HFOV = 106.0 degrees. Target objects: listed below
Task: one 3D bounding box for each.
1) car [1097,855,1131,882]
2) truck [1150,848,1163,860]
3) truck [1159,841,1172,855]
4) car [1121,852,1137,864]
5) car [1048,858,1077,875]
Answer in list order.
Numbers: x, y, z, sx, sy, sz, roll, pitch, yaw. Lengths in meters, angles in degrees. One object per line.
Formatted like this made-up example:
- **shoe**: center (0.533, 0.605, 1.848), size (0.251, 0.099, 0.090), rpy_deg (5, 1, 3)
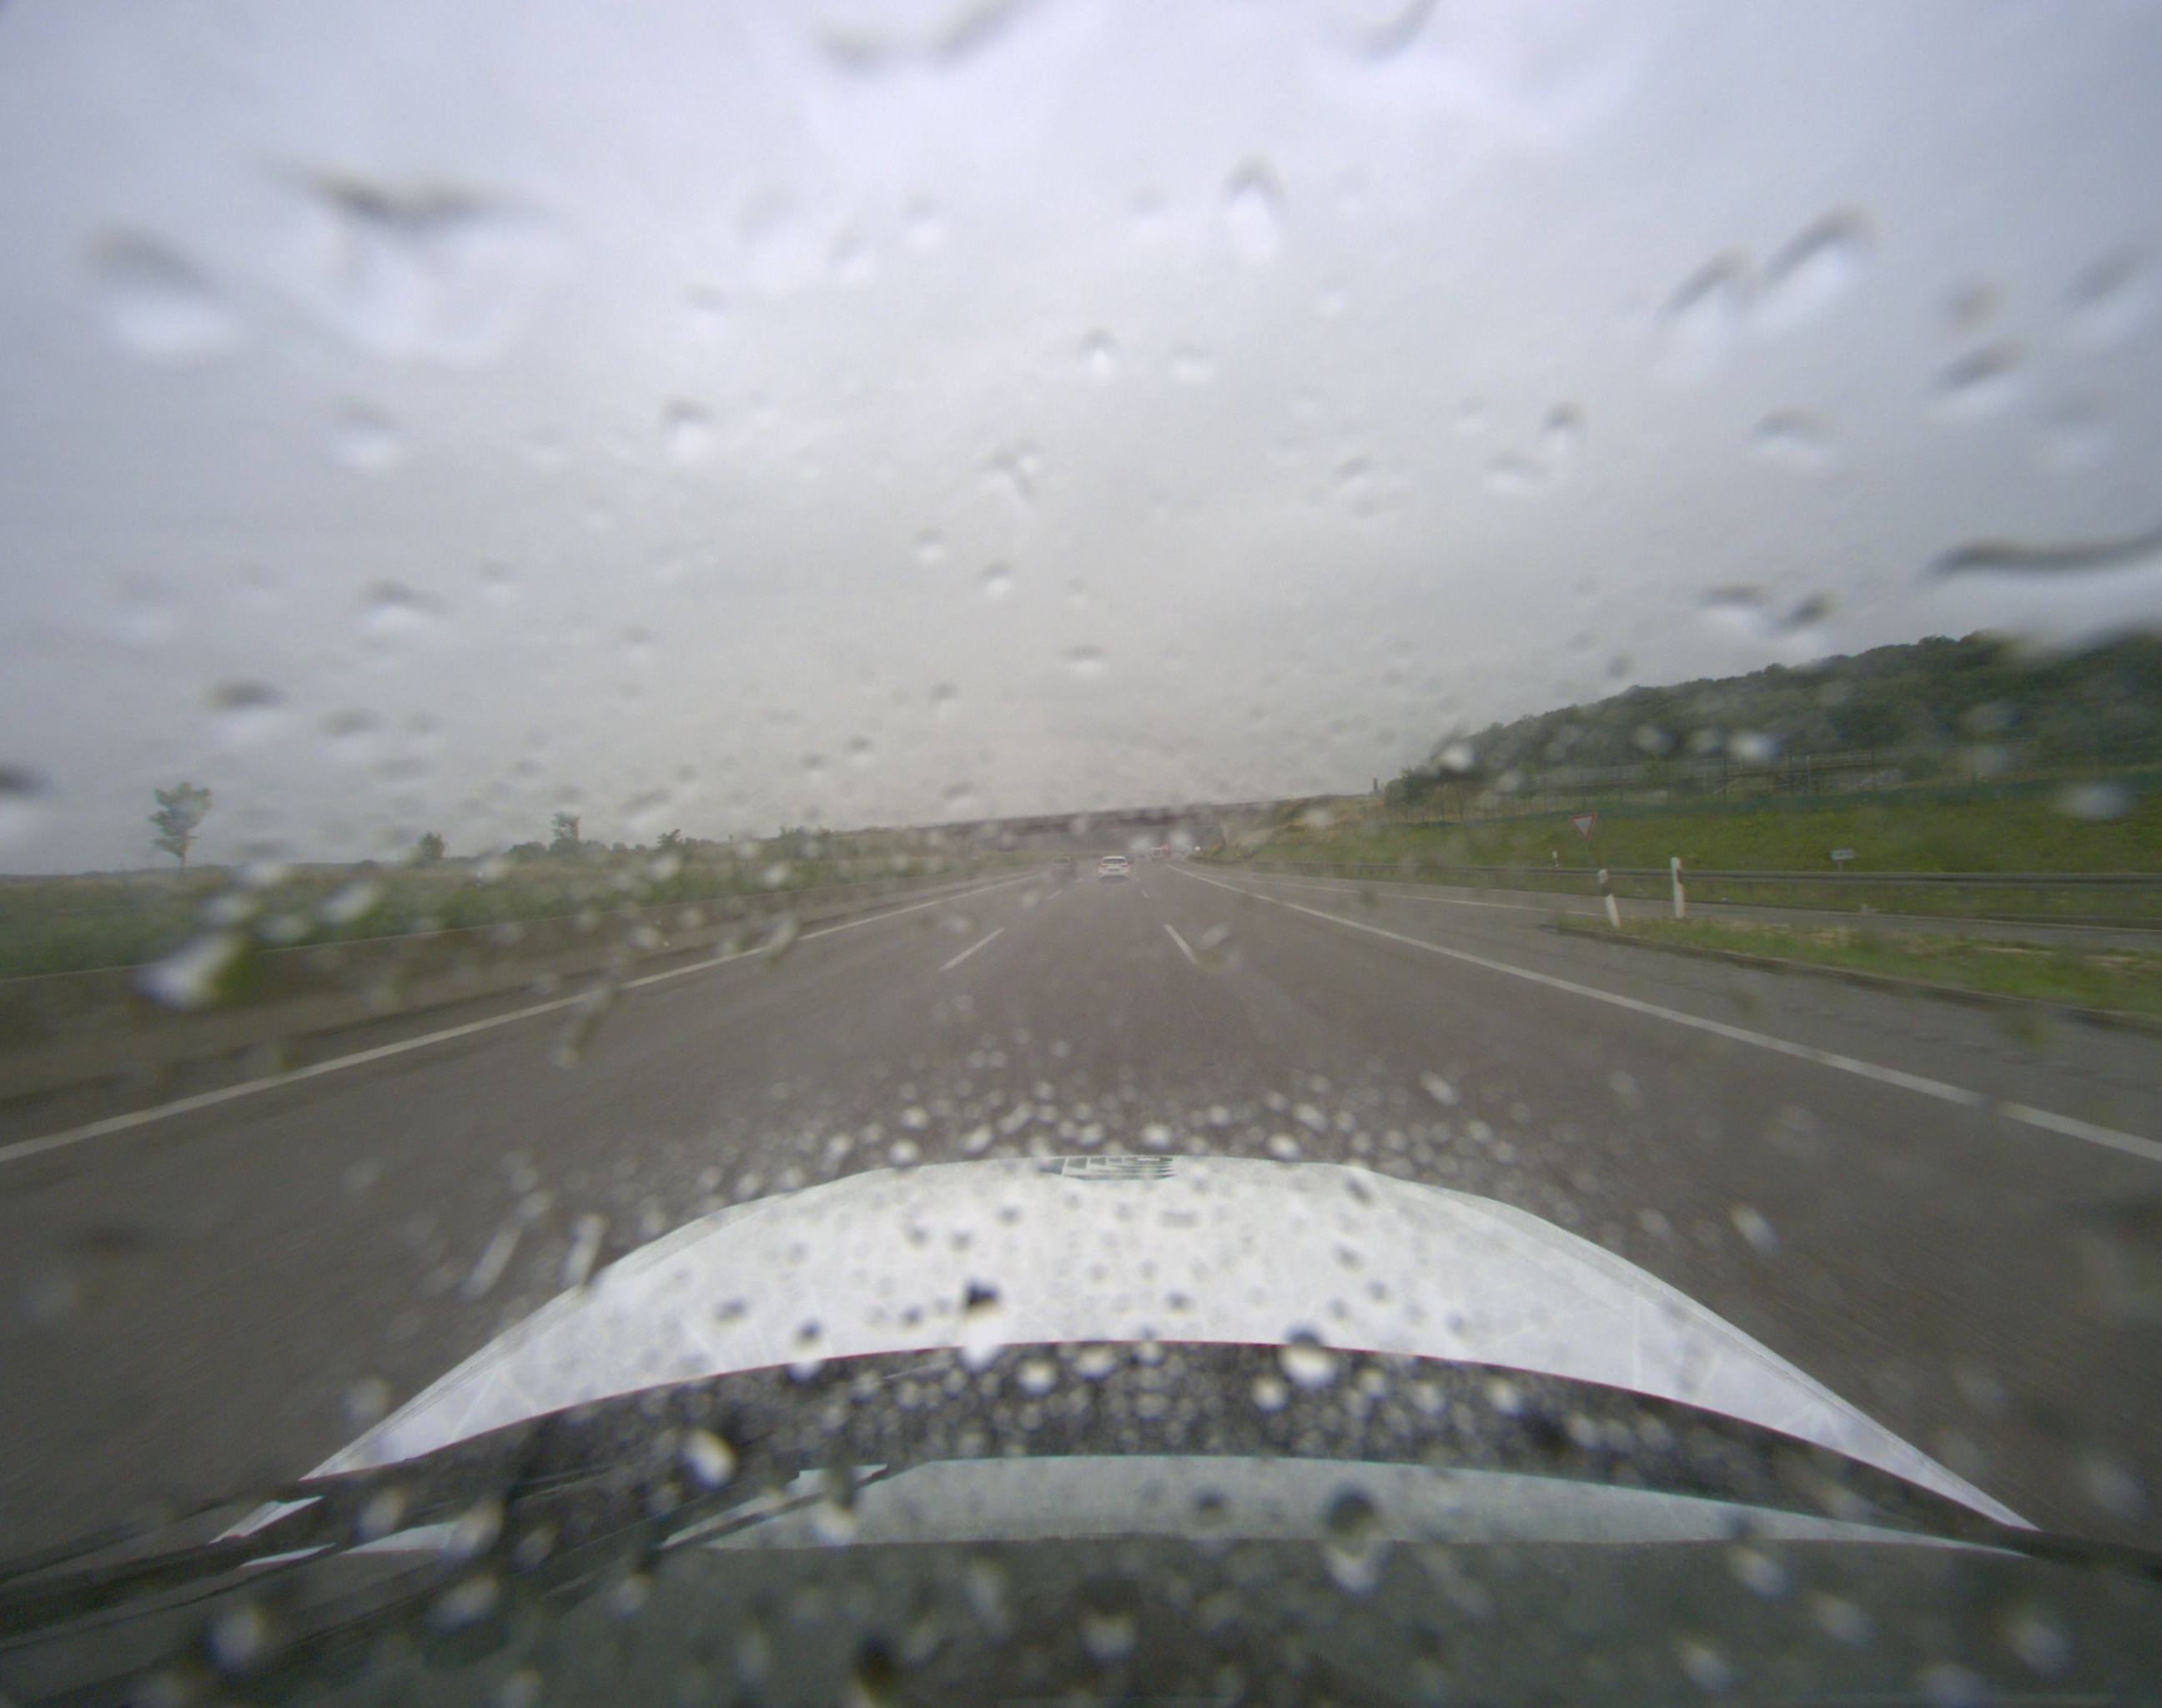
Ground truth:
- **car**: center (1.878, 0.827, 46.607), size (1.860, 1.463, 4.002), rpy_deg (-1, -1, 2)
- **truck**: center (15.446, -0.045, 165.851), size (2.394, 2.252, 4.704), rpy_deg (-1, 0, 9)
- **truck**: center (22.683, -1.677, 218.380), size (3.509, 3.742, 11.446), rpy_deg (-1, 1, 6)
- **car**: center (6.648, 0.489, 112.080), size (1.983, 1.618, 4.008), rpy_deg (-1, 0, 7)
- **car**: center (-1.249, 0.863, 57.299), size (1.817, 1.156, 4.213), rpy_deg (-1, -1, 1)
